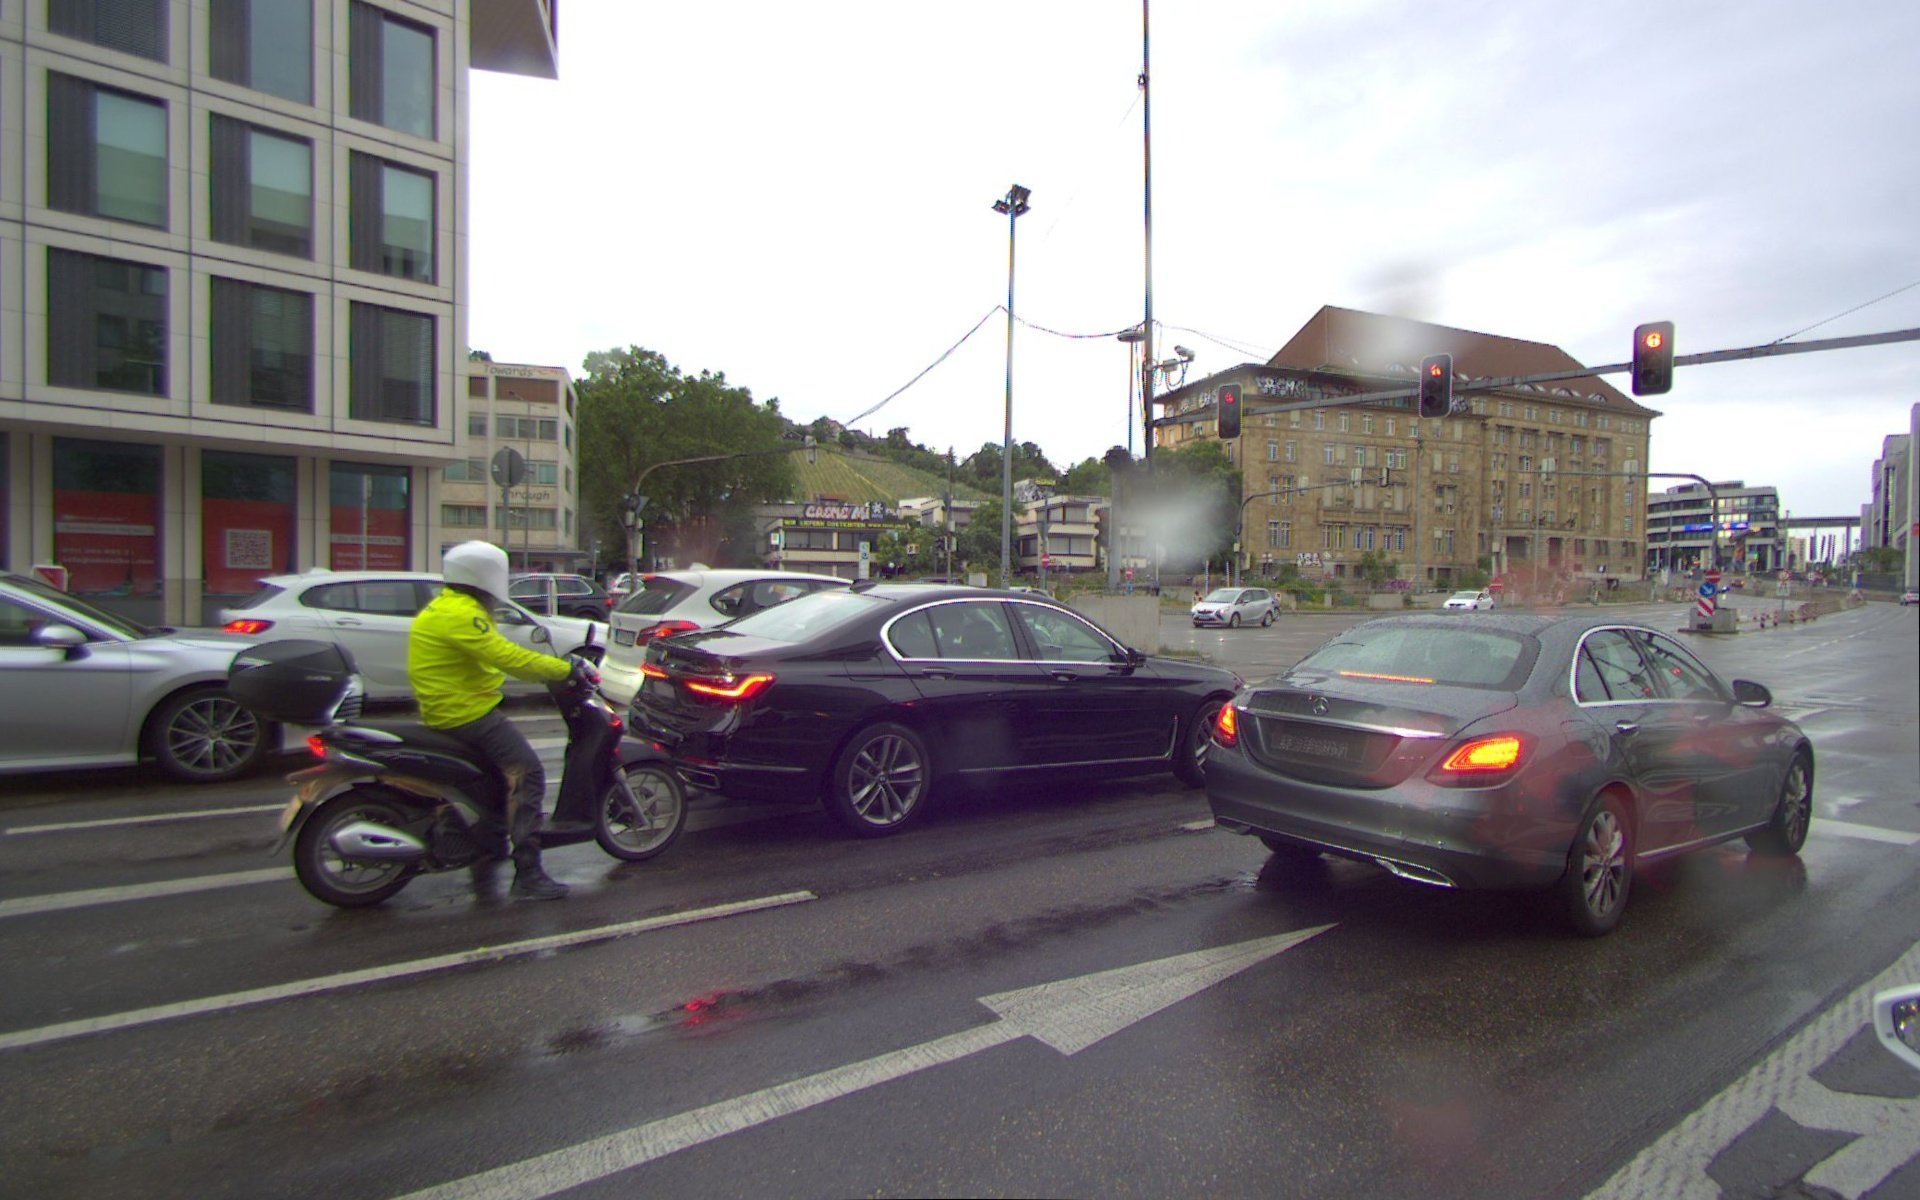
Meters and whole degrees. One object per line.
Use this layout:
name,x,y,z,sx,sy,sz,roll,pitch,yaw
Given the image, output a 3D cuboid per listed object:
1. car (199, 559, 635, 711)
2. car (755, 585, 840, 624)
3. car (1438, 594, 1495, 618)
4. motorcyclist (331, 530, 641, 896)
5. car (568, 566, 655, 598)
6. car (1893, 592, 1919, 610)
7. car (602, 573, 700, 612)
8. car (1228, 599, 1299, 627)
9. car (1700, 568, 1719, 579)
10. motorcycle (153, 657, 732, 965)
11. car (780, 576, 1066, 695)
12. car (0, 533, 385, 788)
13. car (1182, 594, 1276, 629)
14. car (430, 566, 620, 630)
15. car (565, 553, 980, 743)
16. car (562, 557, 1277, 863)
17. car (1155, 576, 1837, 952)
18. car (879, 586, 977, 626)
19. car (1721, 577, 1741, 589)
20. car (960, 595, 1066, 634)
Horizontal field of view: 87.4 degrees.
car,-5.853,0.352,11.083,3.955,1.391,1.771,2,1,-36
car,-7.529,0.196,46.292,3.939,1.617,1.668,3,1,40
car,30.250,0.358,59.955,3.971,1.277,1.751,2,1,-43
motorcyclist,-2.272,0.460,4.814,1.092,1.495,0.933,2,1,-41
car,-20.570,-1.035,59.349,4.363,1.670,2.000,3,1,2
car,99.605,0.127,105.367,1.967,1.662,3.987,3,1,35
car,-15.040,-0.373,48.836,4.369,1.671,1.998,3,1,27
car,15.146,0.660,50.057,4.052,1.277,1.607,2,1,-45
car,150.421,-5.293,201.608,1.962,1.840,3.998,3,1,24
motorcycle,-2.338,0.832,4.762,2.277,1.002,0.933,1,1,-42
car,-0.551,0.548,15.542,4.021,1.621,1.776,2,1,-27
car,-6.604,0.324,6.562,4.756,1.541,1.817,2,1,-37
car,11.085,0.473,41.229,4.164,1.277,1.751,2,1,-43
car,-10.592,-0.002,24.619,3.928,1.443,1.681,2,-1,-43
car,-1.847,0.439,10.618,3.970,1.637,1.717,2,1,-42
car,-0.038,0.597,7.264,4.956,1.535,1.873,2,1,-37
car,3.354,0.686,5.905,4.444,1.421,1.770,2,1,-37
car,-1.560,0.282,48.734,4.318,1.684,1.996,3,1,32
car,135.220,-2.993,176.156,1.963,2.040,3.996,3,1,26
car,1.996,0.551,36.893,3.974,1.277,1.607,2,1,-45
